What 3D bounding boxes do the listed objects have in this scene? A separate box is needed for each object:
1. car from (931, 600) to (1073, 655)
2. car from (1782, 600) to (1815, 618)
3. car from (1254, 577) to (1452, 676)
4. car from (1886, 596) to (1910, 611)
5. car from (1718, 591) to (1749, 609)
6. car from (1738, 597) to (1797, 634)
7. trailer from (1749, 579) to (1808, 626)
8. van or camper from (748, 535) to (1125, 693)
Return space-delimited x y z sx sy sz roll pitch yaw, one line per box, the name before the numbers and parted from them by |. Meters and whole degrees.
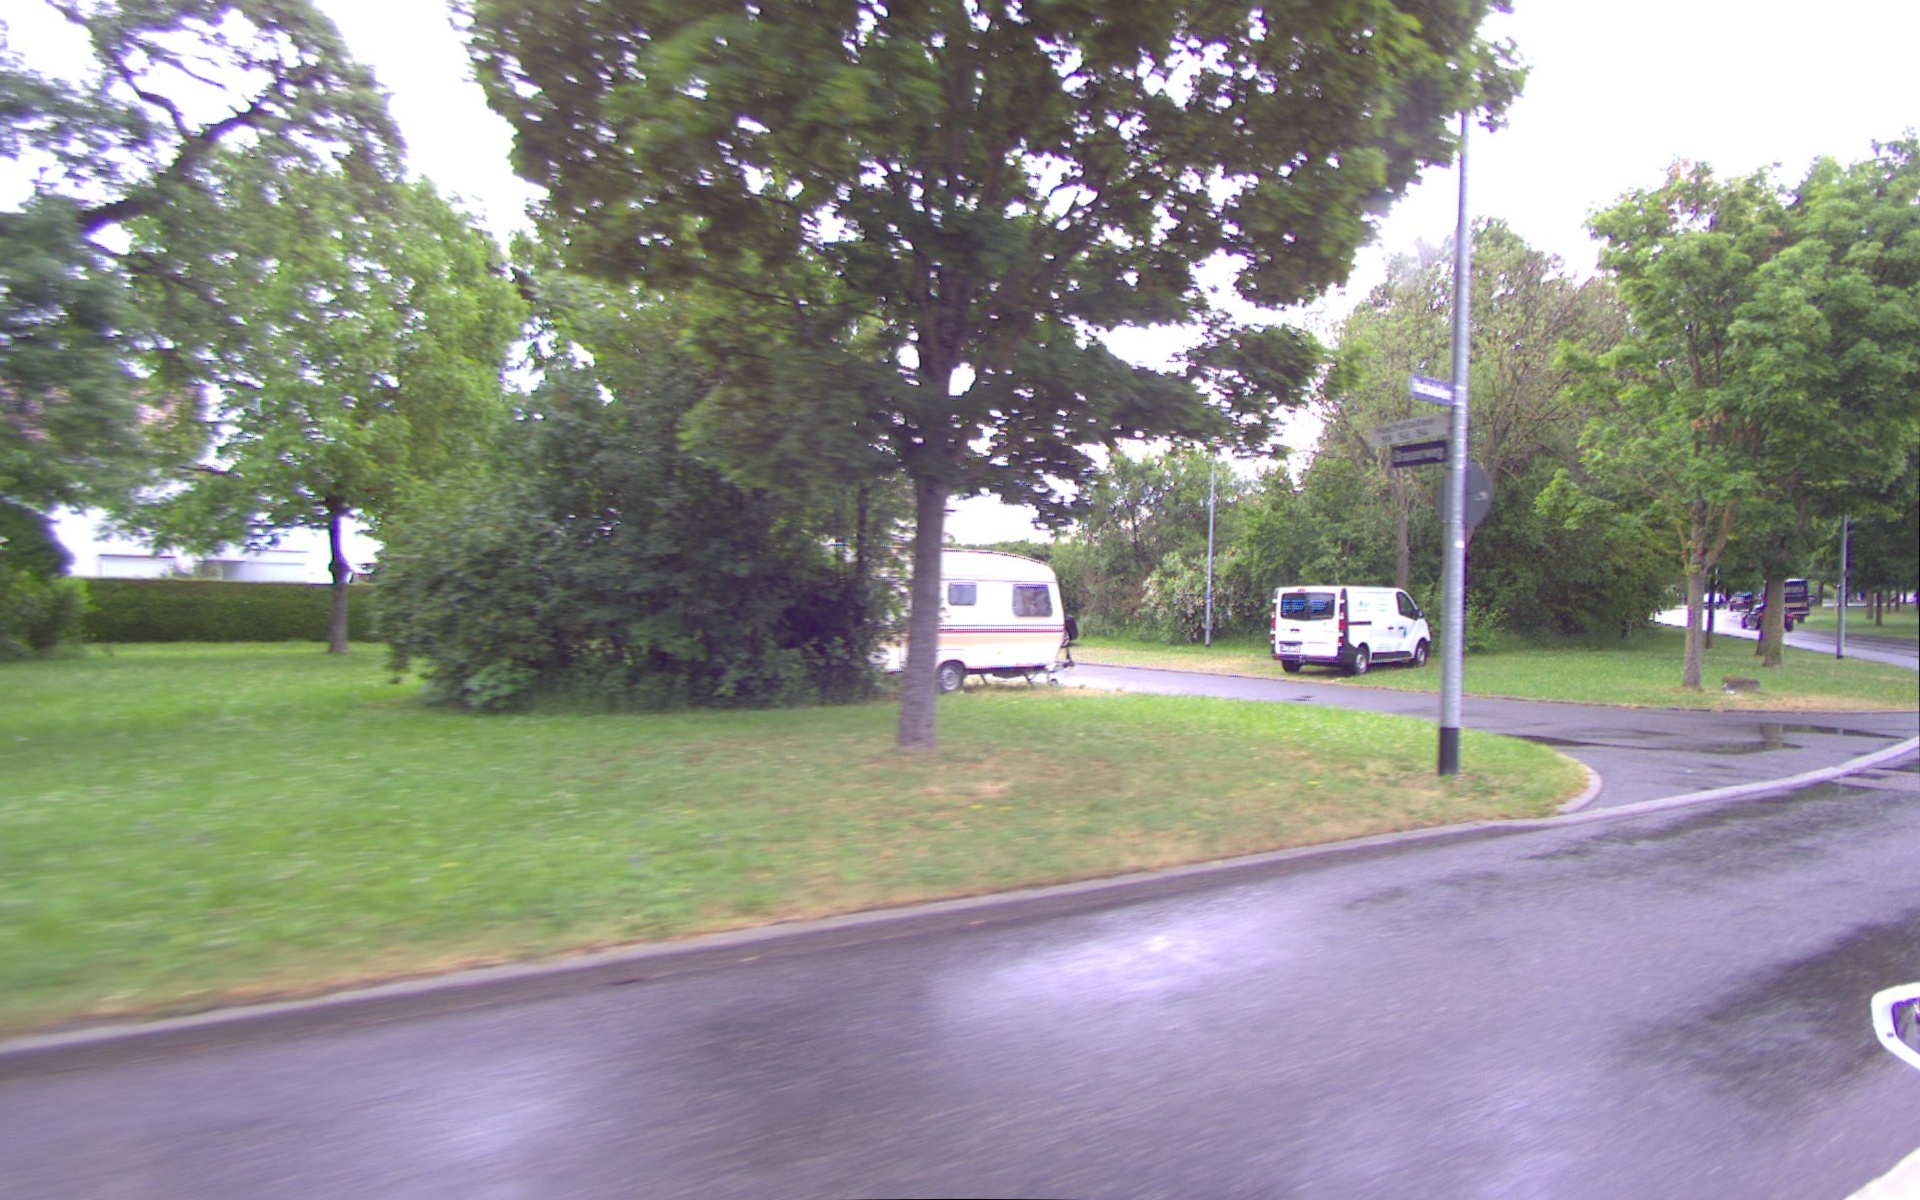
car | 1.425 0.865 33.169 4.443 1.529 2.109 -2 1 -41
car | 91.469 0.958 109.601 3.966 1.828 1.977 2 2 -39
car | 9.473 0.542 23.953 5.431 2.013 2.109 -3 1 -41
car | 123.267 0.480 132.040 3.972 1.832 1.974 1 2 -43
car | 73.527 -0.022 95.524 1.763 1.558 4.083 4 3 30
car | 47.347 0.907 58.969 1.872 2.040 3.940 1 -1 26
trailer | 54.384 0.141 66.817 1.965 2.845 5.597 -5 -2 30
van or camper | -0.210 0.291 18.174 6.750 2.392 2.366 2 -1 -38
